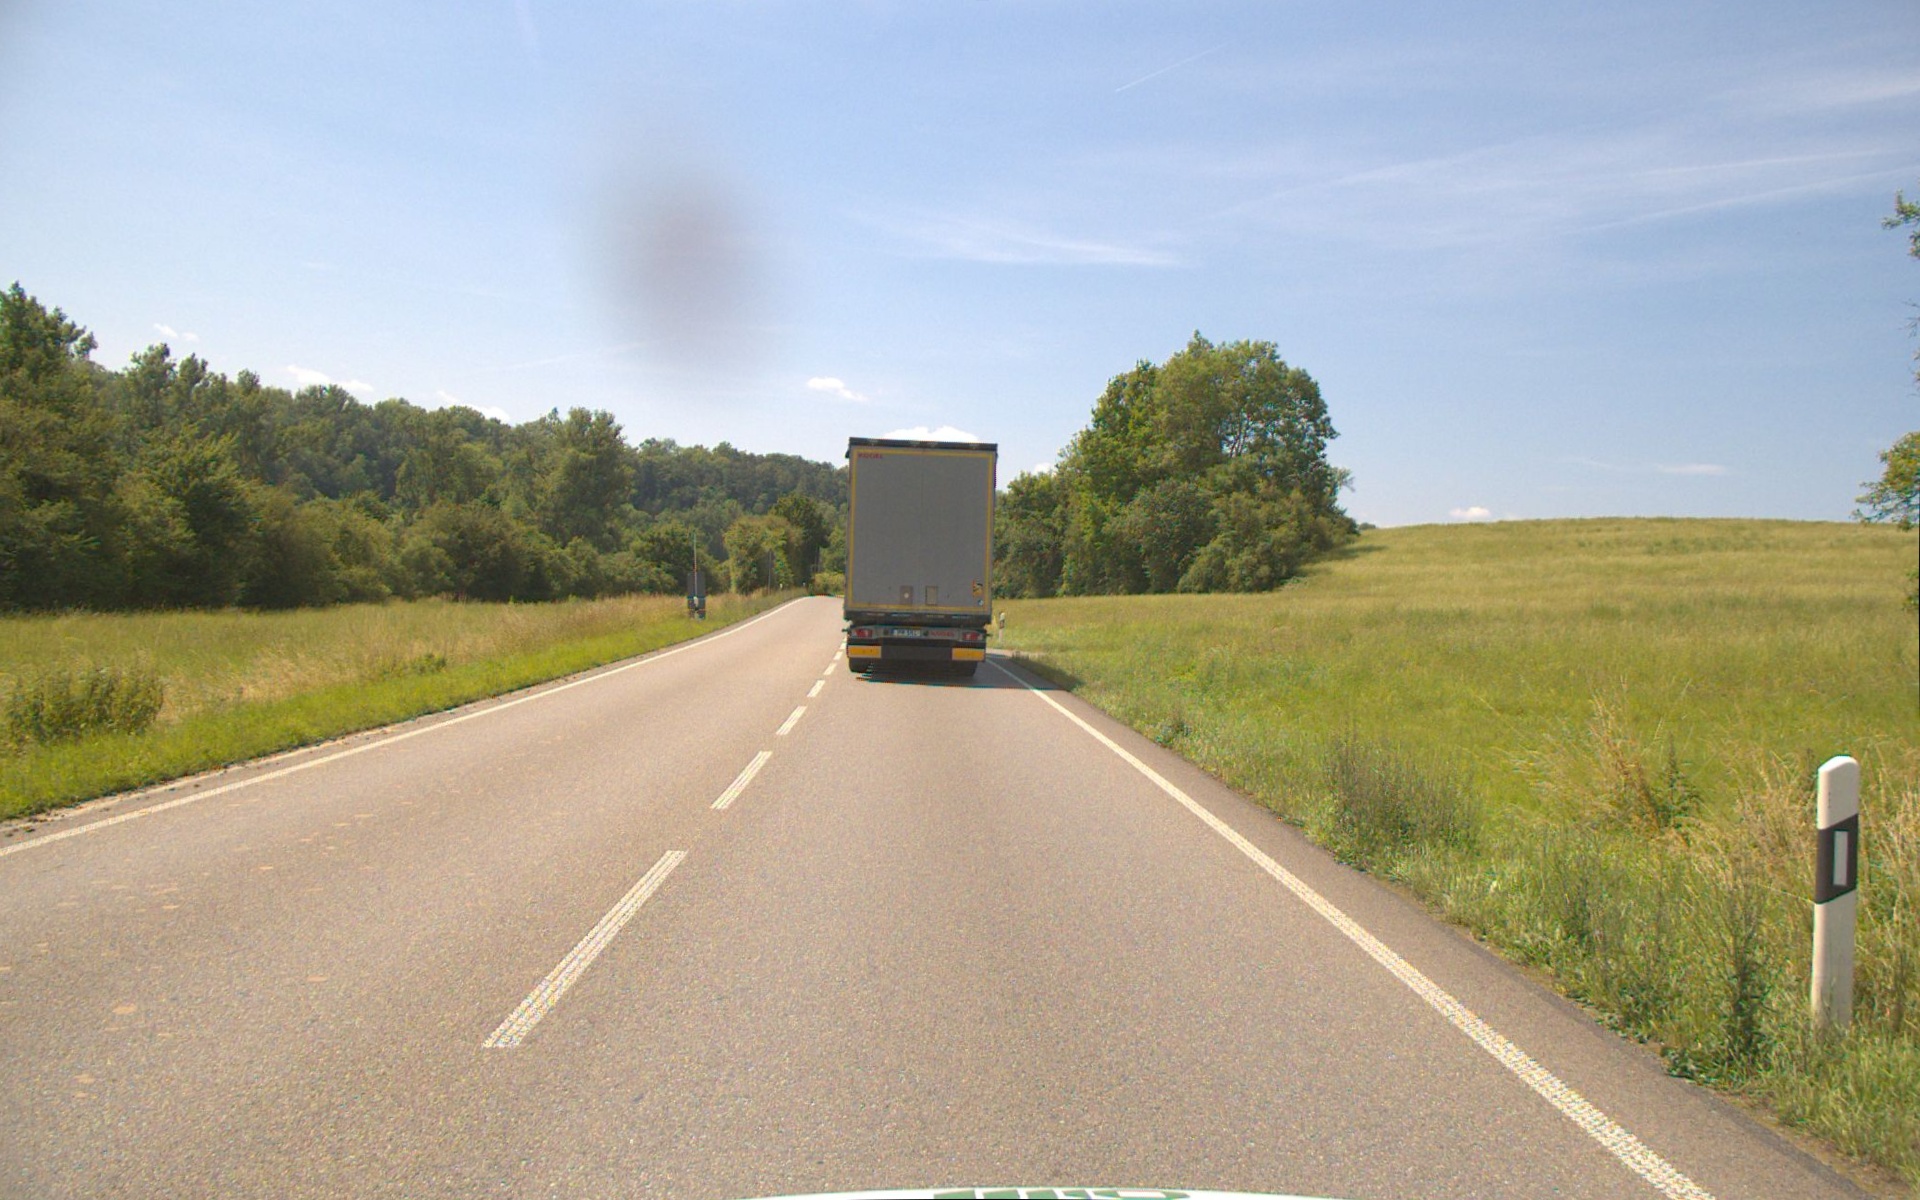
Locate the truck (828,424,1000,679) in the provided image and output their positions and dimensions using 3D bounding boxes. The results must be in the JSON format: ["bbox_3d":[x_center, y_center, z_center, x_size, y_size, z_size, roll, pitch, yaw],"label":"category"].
[{"bbox_3d":[-1.133,-0.821,35.093,2.746,4.139,15.316,2,0,-3],"label":"truck"}]
